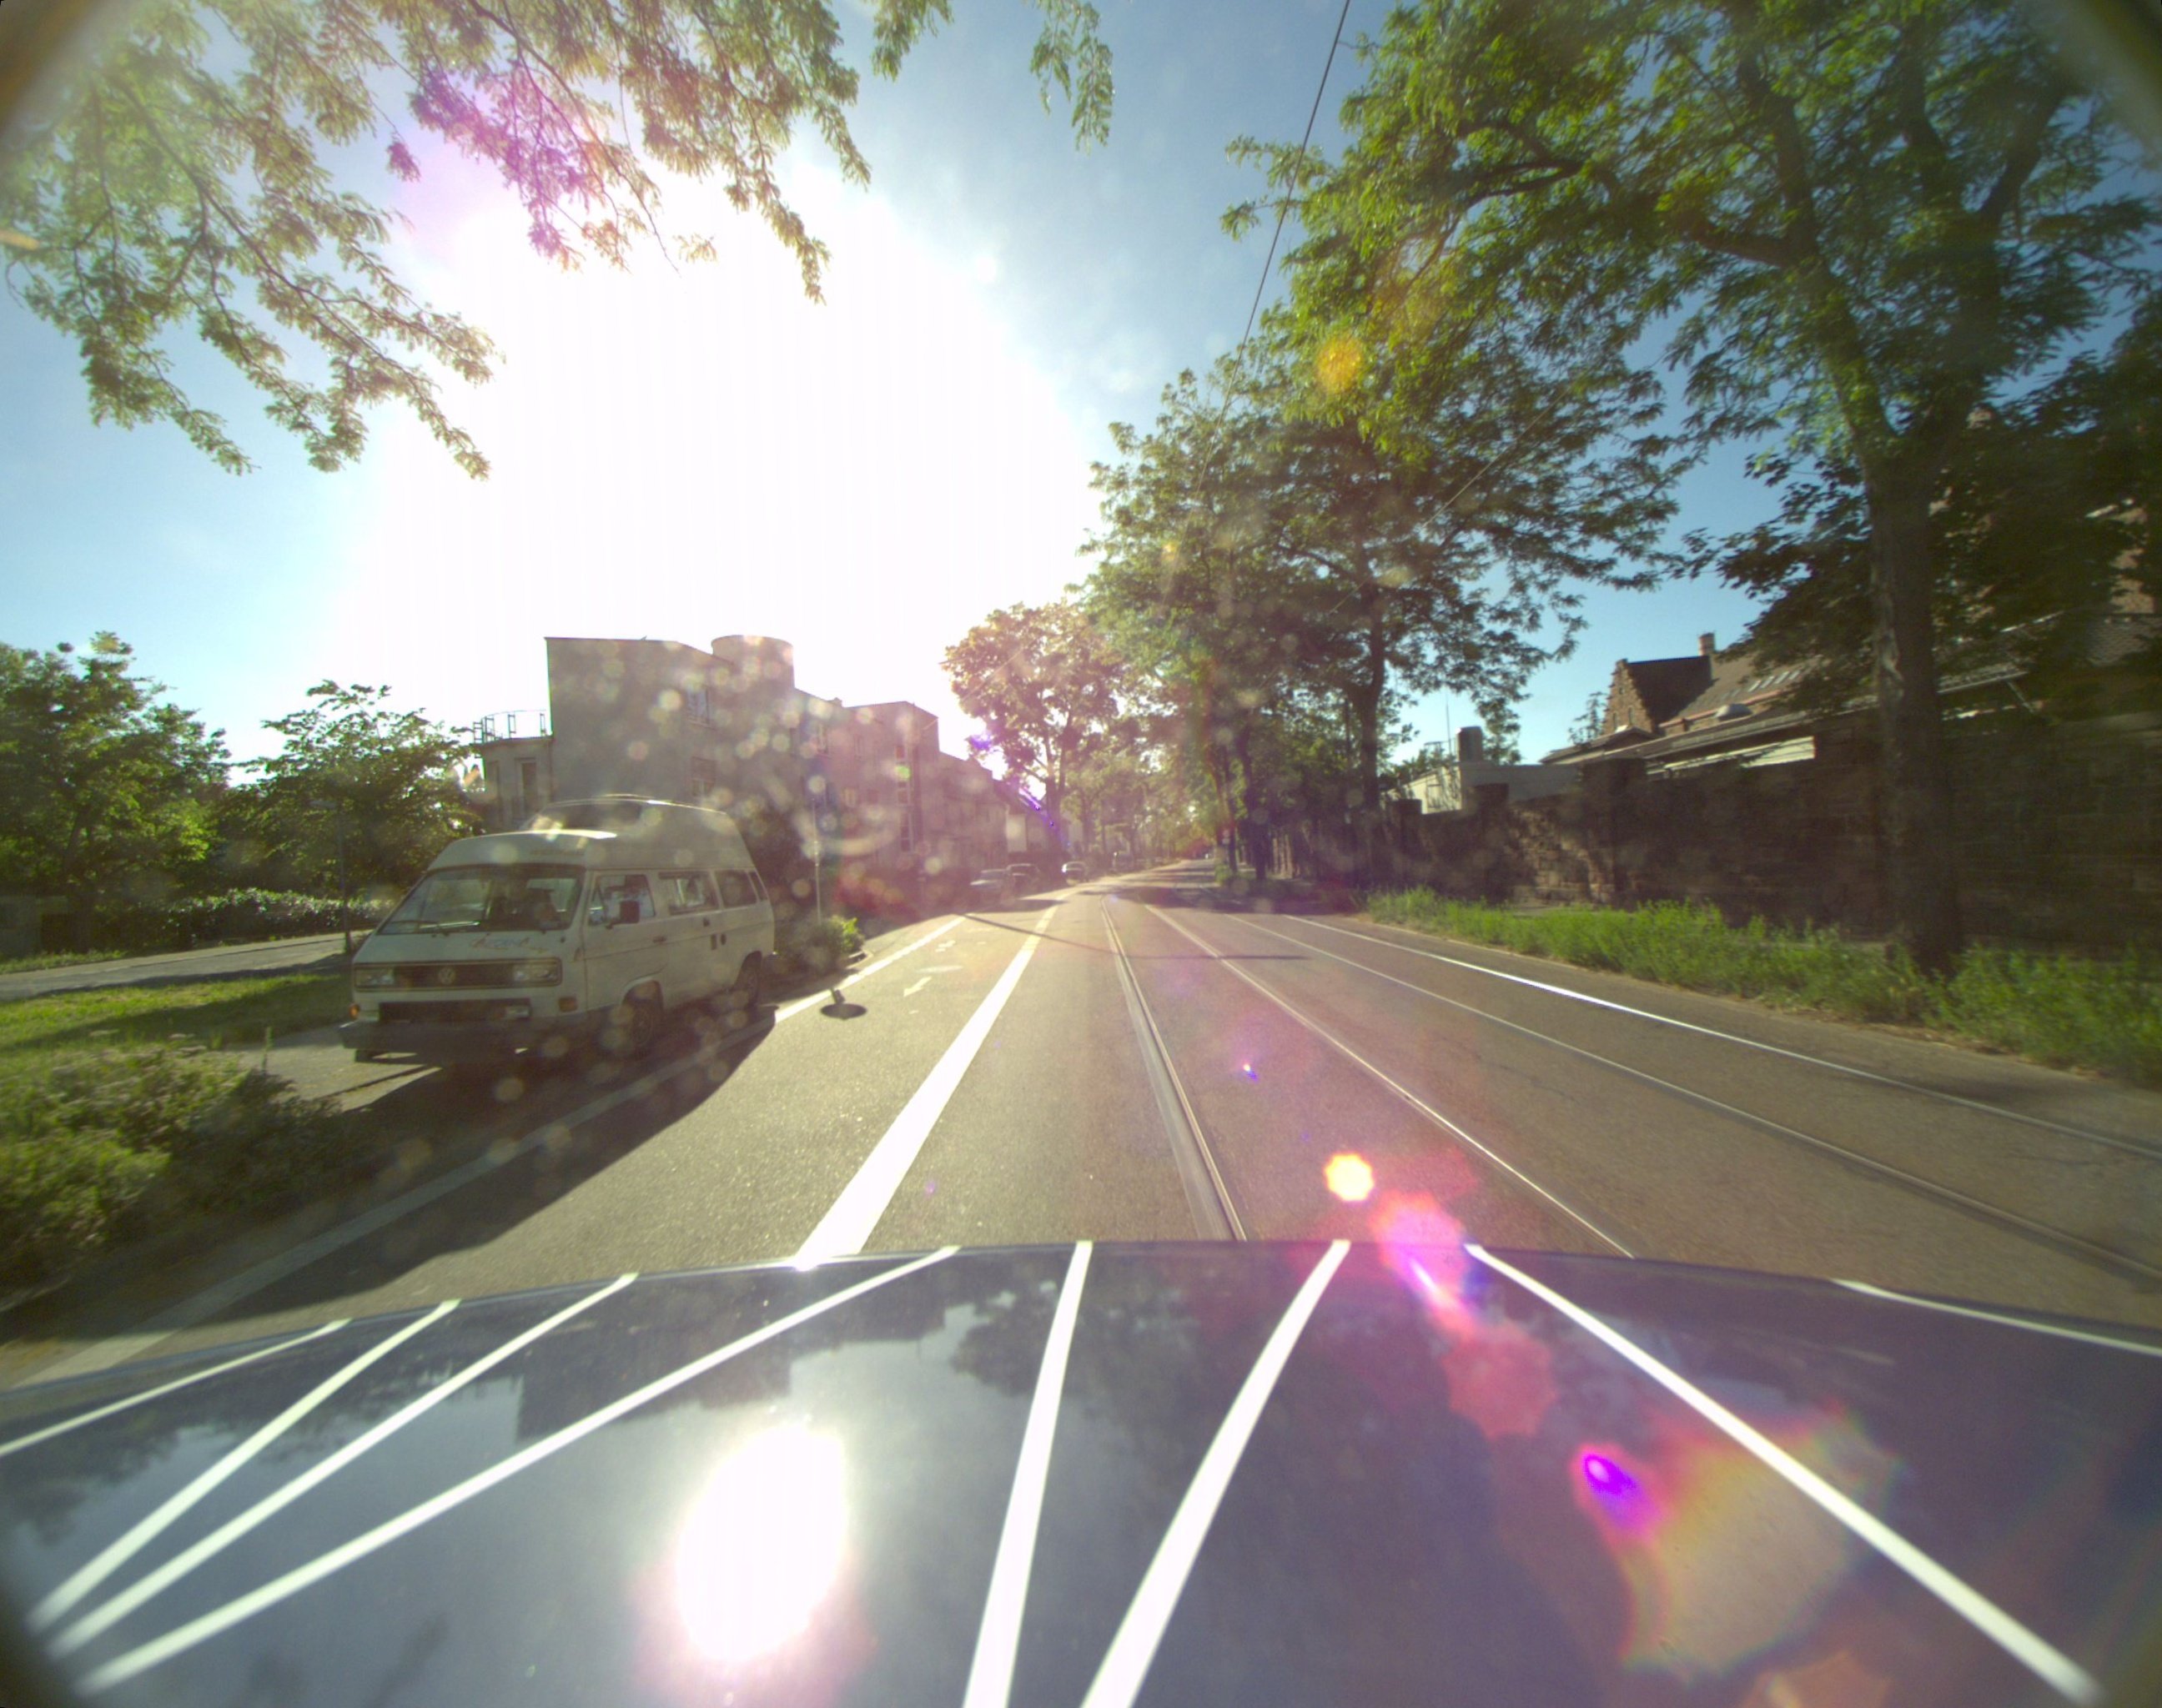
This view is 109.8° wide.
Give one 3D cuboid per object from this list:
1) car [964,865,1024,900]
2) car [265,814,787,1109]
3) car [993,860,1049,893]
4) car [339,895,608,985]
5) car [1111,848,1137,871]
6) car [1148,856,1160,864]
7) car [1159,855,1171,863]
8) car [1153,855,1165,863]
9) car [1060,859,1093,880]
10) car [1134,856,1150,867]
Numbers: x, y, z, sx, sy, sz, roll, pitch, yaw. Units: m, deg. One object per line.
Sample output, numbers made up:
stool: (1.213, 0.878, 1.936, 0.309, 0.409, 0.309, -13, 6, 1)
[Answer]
car: (-4.352, 1.395, 38.589, 1.741, 1.487, 4.533, -4, 0, 10)
car: (-5.029, 0.812, 8.008, 1.999, 2.083, 4.716, -3, 0, -1)
car: (-3.417, 1.268, 44.264, 1.997, 1.607, 4.604, -2, 0, 11)
car: (-14.102, 1.951, 18.013, 4.465, 1.482, 2.005, -3, 3, -17)
car: (5.321, 0.674, 93.188, 2.295, 2.574, 5.722, -3, 0, 10)
car: (13.314, 1.123, 138.098, 1.787, 1.368, 3.658, -4, 0, 10)
car: (17.600, 1.087, 159.069, 1.997, 1.410, 4.001, -3, 2, 10)
car: (15.191, 0.941, 147.327, 1.997, 1.474, 4.003, -3, 0, 10)
car: (-0.291, 1.214, 61.455, 1.879, 1.509, 4.652, -4, 0, 8)
car: (9.250, 1.082, 114.326, 1.662, 1.527, 4.004, -3, 0, 14)
